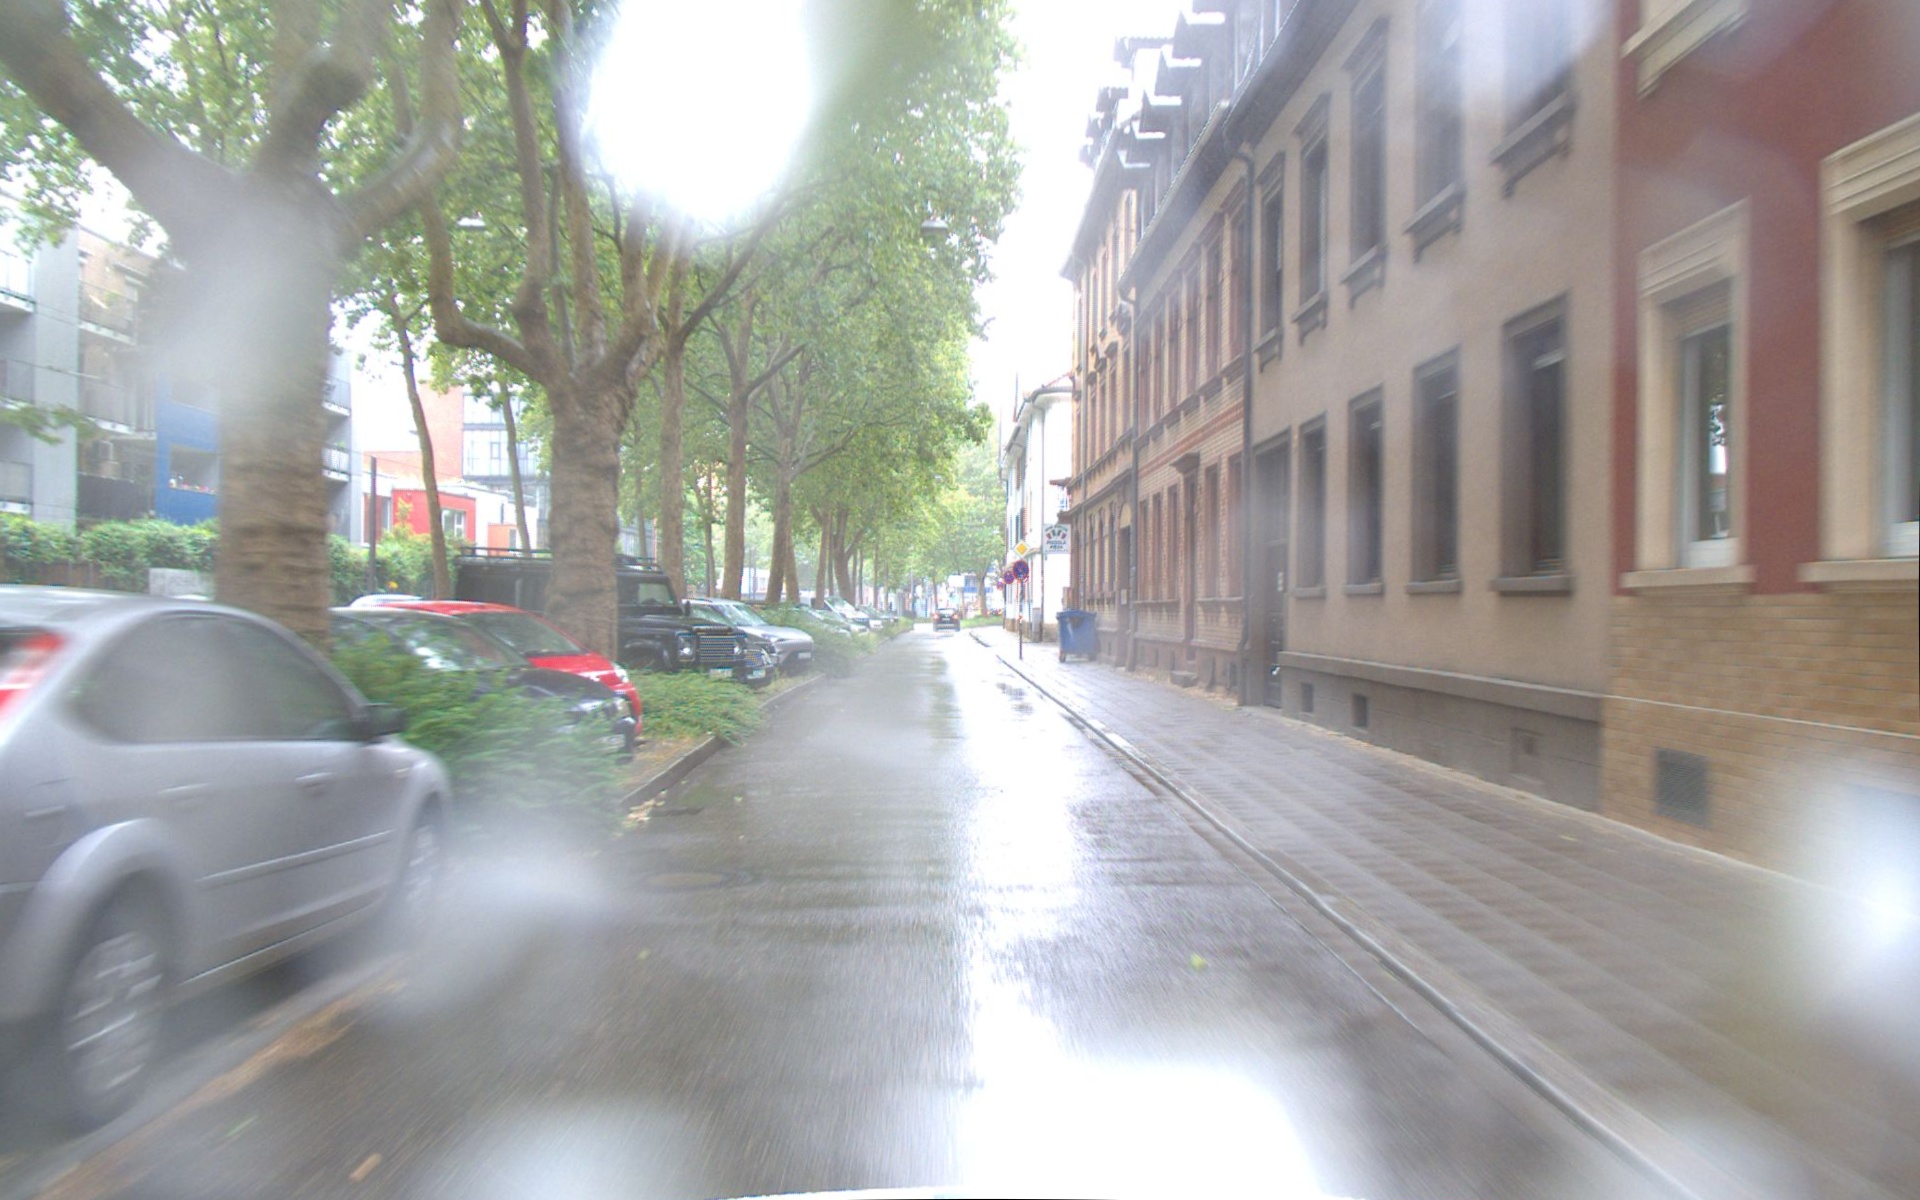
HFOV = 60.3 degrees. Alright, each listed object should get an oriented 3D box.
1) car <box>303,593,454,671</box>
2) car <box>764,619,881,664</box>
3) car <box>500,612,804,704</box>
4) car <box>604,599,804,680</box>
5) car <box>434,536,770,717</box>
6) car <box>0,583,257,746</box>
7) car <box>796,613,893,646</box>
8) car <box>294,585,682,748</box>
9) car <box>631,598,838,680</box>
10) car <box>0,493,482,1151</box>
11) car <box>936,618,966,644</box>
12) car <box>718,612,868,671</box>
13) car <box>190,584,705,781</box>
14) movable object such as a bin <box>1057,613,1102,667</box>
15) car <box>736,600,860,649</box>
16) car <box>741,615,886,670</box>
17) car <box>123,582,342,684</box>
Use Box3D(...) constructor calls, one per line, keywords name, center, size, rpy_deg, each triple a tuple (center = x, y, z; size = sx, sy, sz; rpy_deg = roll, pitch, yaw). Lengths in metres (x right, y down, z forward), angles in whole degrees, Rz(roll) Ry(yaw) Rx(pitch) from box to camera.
Box3D(name="car", center=(-12.376, 0.660, 35.490), size=(1.866, 1.561, 4.214), rpy_deg=(1, 0, -2))
Box3D(name="car", center=(-5.117, 1.520, 61.657), size=(3.974, 1.525, 1.747), rpy_deg=(1, 0, 23))
Box3D(name="car", center=(-4.886, 0.885, 26.143), size=(4.554, 1.349, 1.845), rpy_deg=(-1, -1, 27))
Box3D(name="car", center=(-4.895, 0.750, 31.724), size=(3.427, 1.493, 1.642), rpy_deg=(-1, -1, 20))
Box3D(name="car", center=(-5.094, 0.363, 23.351), size=(4.561, 2.323, 2.006), rpy_deg=(-1, -1, 33))
Box3D(name="car", center=(-8.864, 0.594, 16.817), size=(1.797, 1.445, 3.998), rpy_deg=(1, -1, -2))
Box3D(name="car", center=(-5.603, 1.440, 80.299), size=(4.460, 1.508, 1.772), rpy_deg=(-1, -1, 29))
Box3D(name="car", center=(-4.686, 0.618, 16.433), size=(3.423, 1.461, 1.780), rpy_deg=(-1, -1, 27))
Box3D(name="car", center=(-4.691, 0.780, 34.357), size=(3.976, 1.564, 1.832), rpy_deg=(1, 0, 30))
Box3D(name="car", center=(-3.110, 0.509, 5.746), size=(1.694, 1.541, 4.206), rpy_deg=(2, 0, -1))
Box3D(name="car", center=(-0.615, 2.060, 109.764), size=(1.953, 1.669, 3.999), rpy_deg=(1, -1, -1))
Box3D(name="car", center=(-5.172, 1.291, 50.993), size=(4.322, 1.674, 1.868), rpy_deg=(-2, -1, 30))
Box3D(name="car", center=(-4.298, 0.634, 13.862), size=(3.952, 1.460, 1.780), rpy_deg=(-1, -1, 24))
Box3D(name="movable object such as a bin", center=(3.161, 1.046, 43.939), size=(1.000, 1.324, 1.366), rpy_deg=(-3, 0, -1))
Box3D(name="car", center=(-6.959, 1.056, 71.095), size=(5.019, 2.012, 2.099), rpy_deg=(-2, -1, 30))
Box3D(name="car", center=(-4.732, 1.351, 53.386), size=(4.318, 1.689, 1.927), rpy_deg=(-1, 0, 27))
Box3D(name="car", center=(-12.115, 0.522, 27.879), size=(1.866, 1.561, 4.419), rpy_deg=(1, 0, -2))
